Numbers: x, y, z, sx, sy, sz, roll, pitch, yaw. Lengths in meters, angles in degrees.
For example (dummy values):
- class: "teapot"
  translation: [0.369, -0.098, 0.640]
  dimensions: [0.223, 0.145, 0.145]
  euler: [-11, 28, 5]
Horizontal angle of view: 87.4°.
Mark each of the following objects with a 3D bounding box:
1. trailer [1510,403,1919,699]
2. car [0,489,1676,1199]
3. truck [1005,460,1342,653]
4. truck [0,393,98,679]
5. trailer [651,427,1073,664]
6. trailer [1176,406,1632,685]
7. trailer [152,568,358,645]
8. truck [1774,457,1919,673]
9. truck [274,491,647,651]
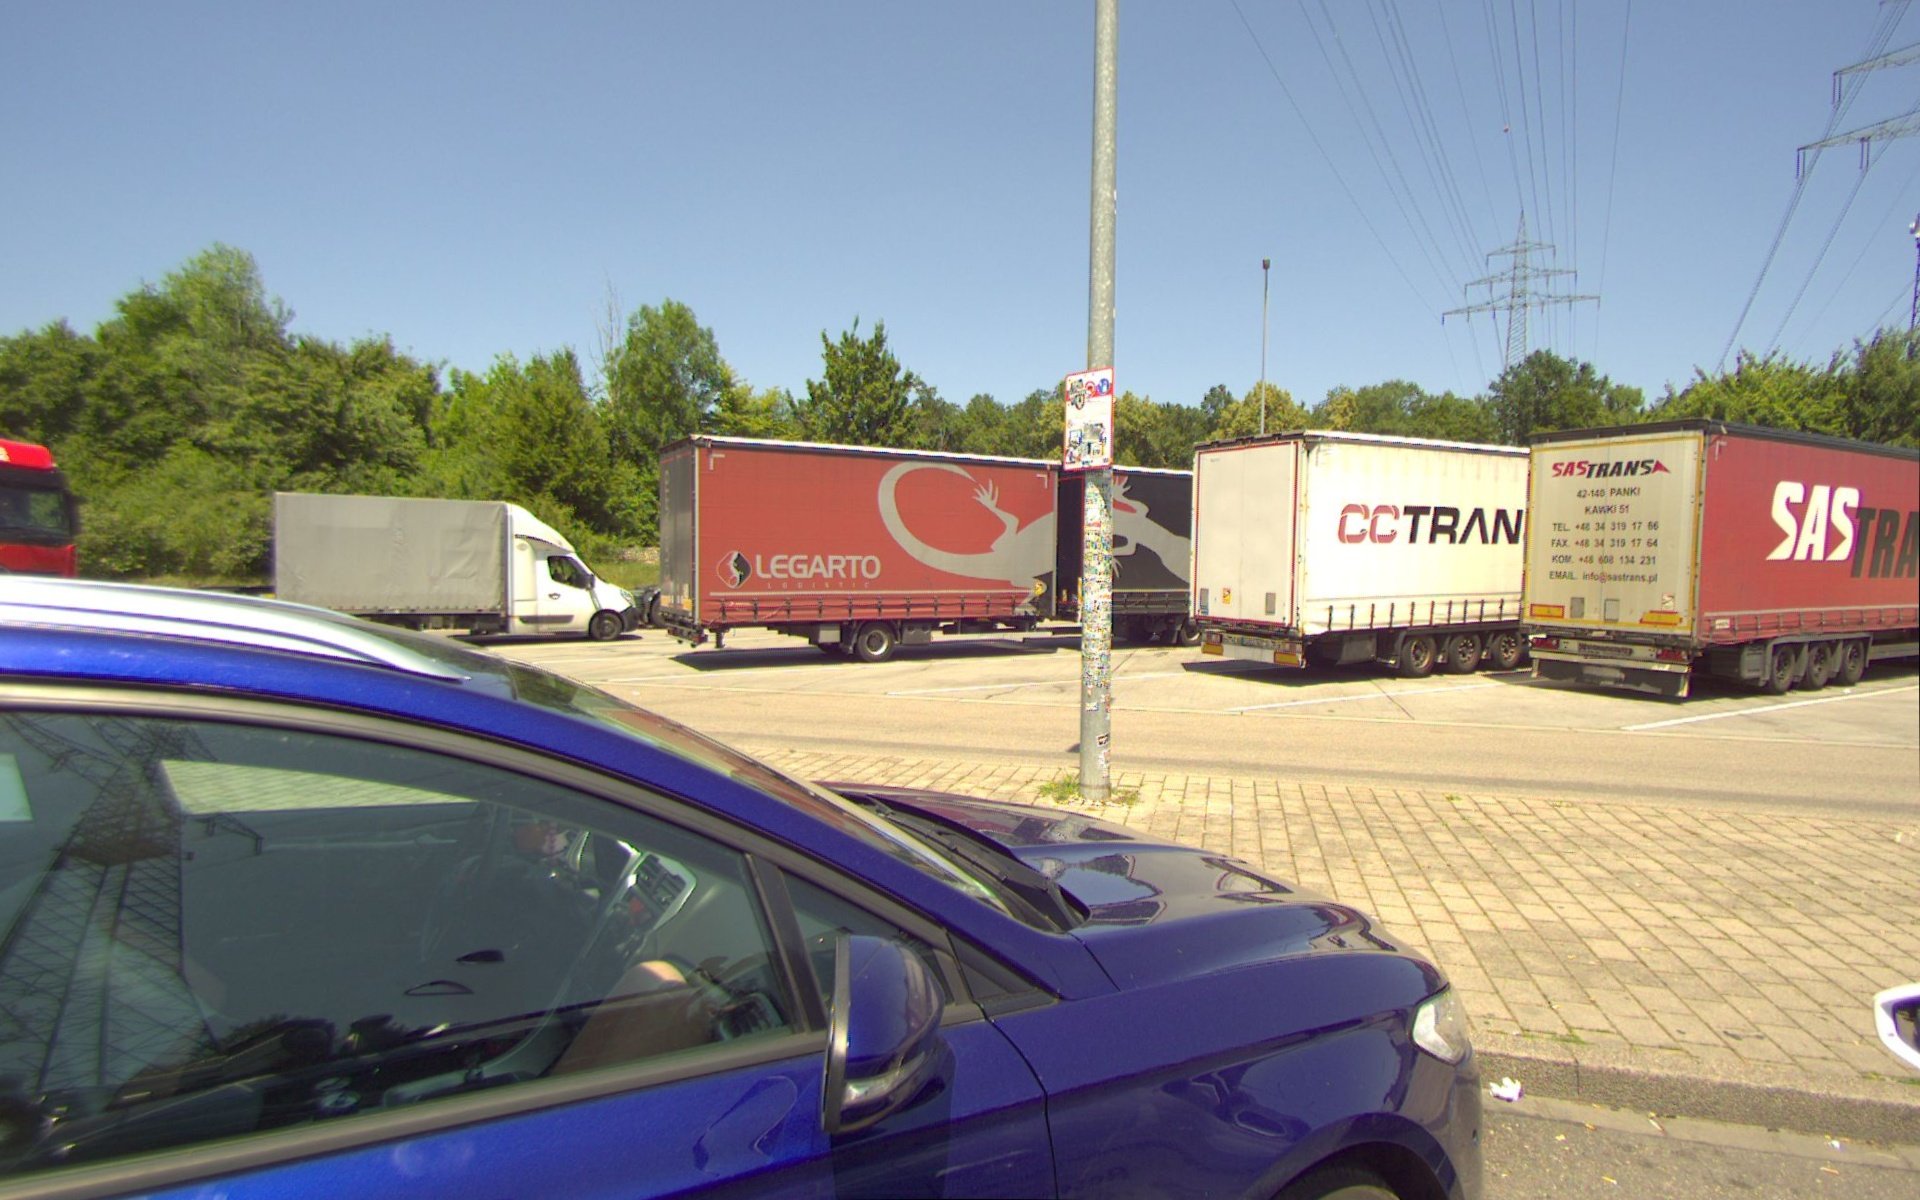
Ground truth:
- class: "trailer"
  translation: [15.312, -0.667, 18.516]
  dimensions: [13.129, 4.112, 2.736]
  euler: [0, 1, -31]
- class: "car"
  translation: [-1.017, 0.655, 1.461]
  dimensions: [4.419, 1.485, 1.765]
  euler: [0, 1, -32]
- class: "truck"
  translation: [5.394, -0.907, 24.579]
  dimensions: [8.534, 4.073, 2.624]
  euler: [0, 1, -30]
- class: "truck"
  translation: [-19.071, -1.034, 16.110]
  dimensions: [10.392, 4.183, 2.695]
  euler: [1, 1, 16]
- class: "trailer"
  translation: [-1.798, -0.915, 20.306]
  dimensions: [8.158, 4.027, 2.651]
  euler: [0, 1, -30]
- class: "trailer"
  translation: [8.704, -0.827, 19.103]
  dimensions: [9.614, 4.321, 2.733]
  euler: [0, 1, -29]
- class: "trailer"
  translation: [-16.519, 0.149, 23.784]
  dimensions: [3.856, 1.684, 1.464]
  euler: [0, 1, -30]
- class: "truck"
  translation: [20.811, -0.670, 21.768]
  dimensions: [6.749, 4.136, 2.729]
  euler: [0, 1, -31]
- class: "truck"
  translation: [-11.107, -0.602, 22.878]
  dimensions: [7.265, 3.170, 2.352]
  euler: [0, 1, -30]
